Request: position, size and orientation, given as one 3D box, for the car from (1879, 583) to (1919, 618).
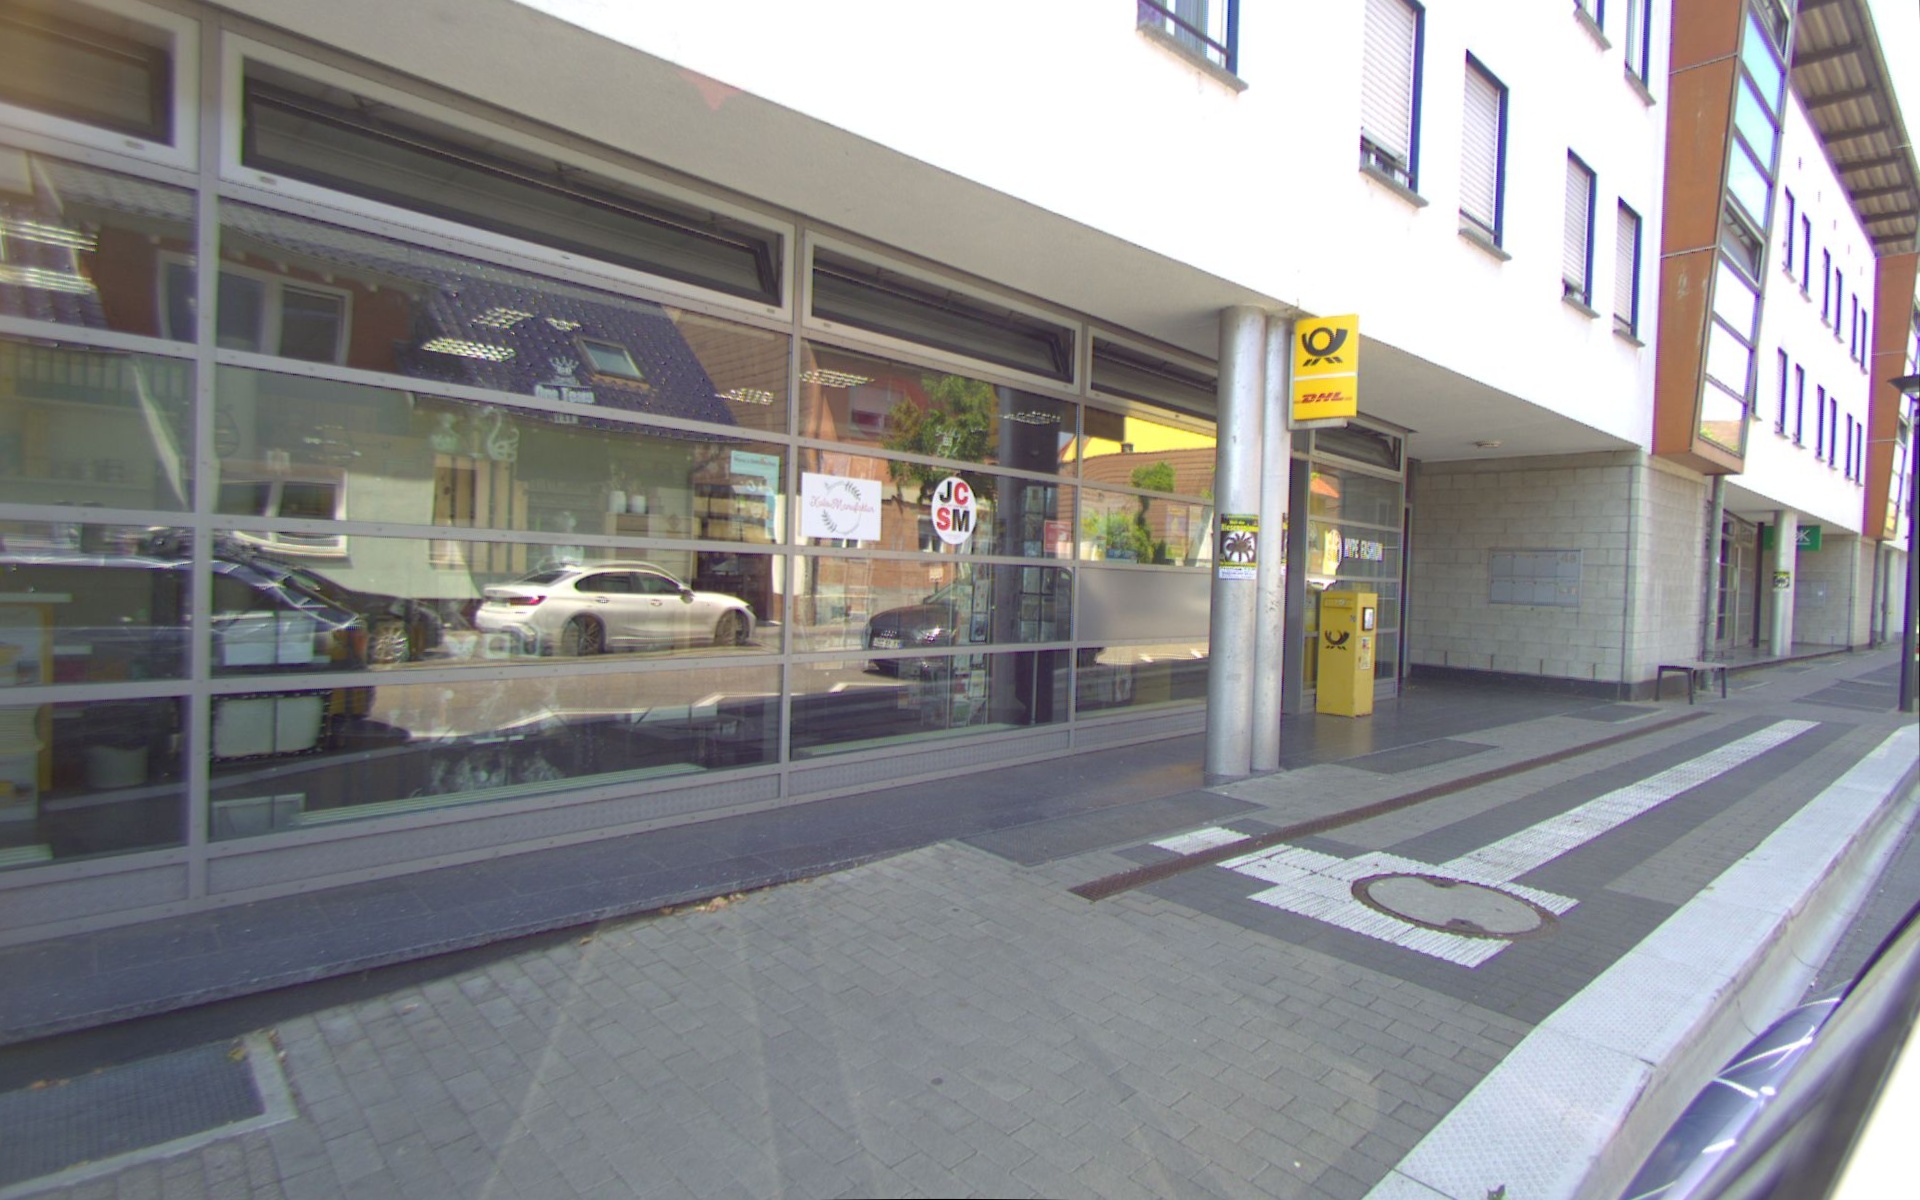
[{"bbox_3d":[54.638,0.087,56.900,1.966,1.882,4.201,0,3,-42],"label":"car"}]
